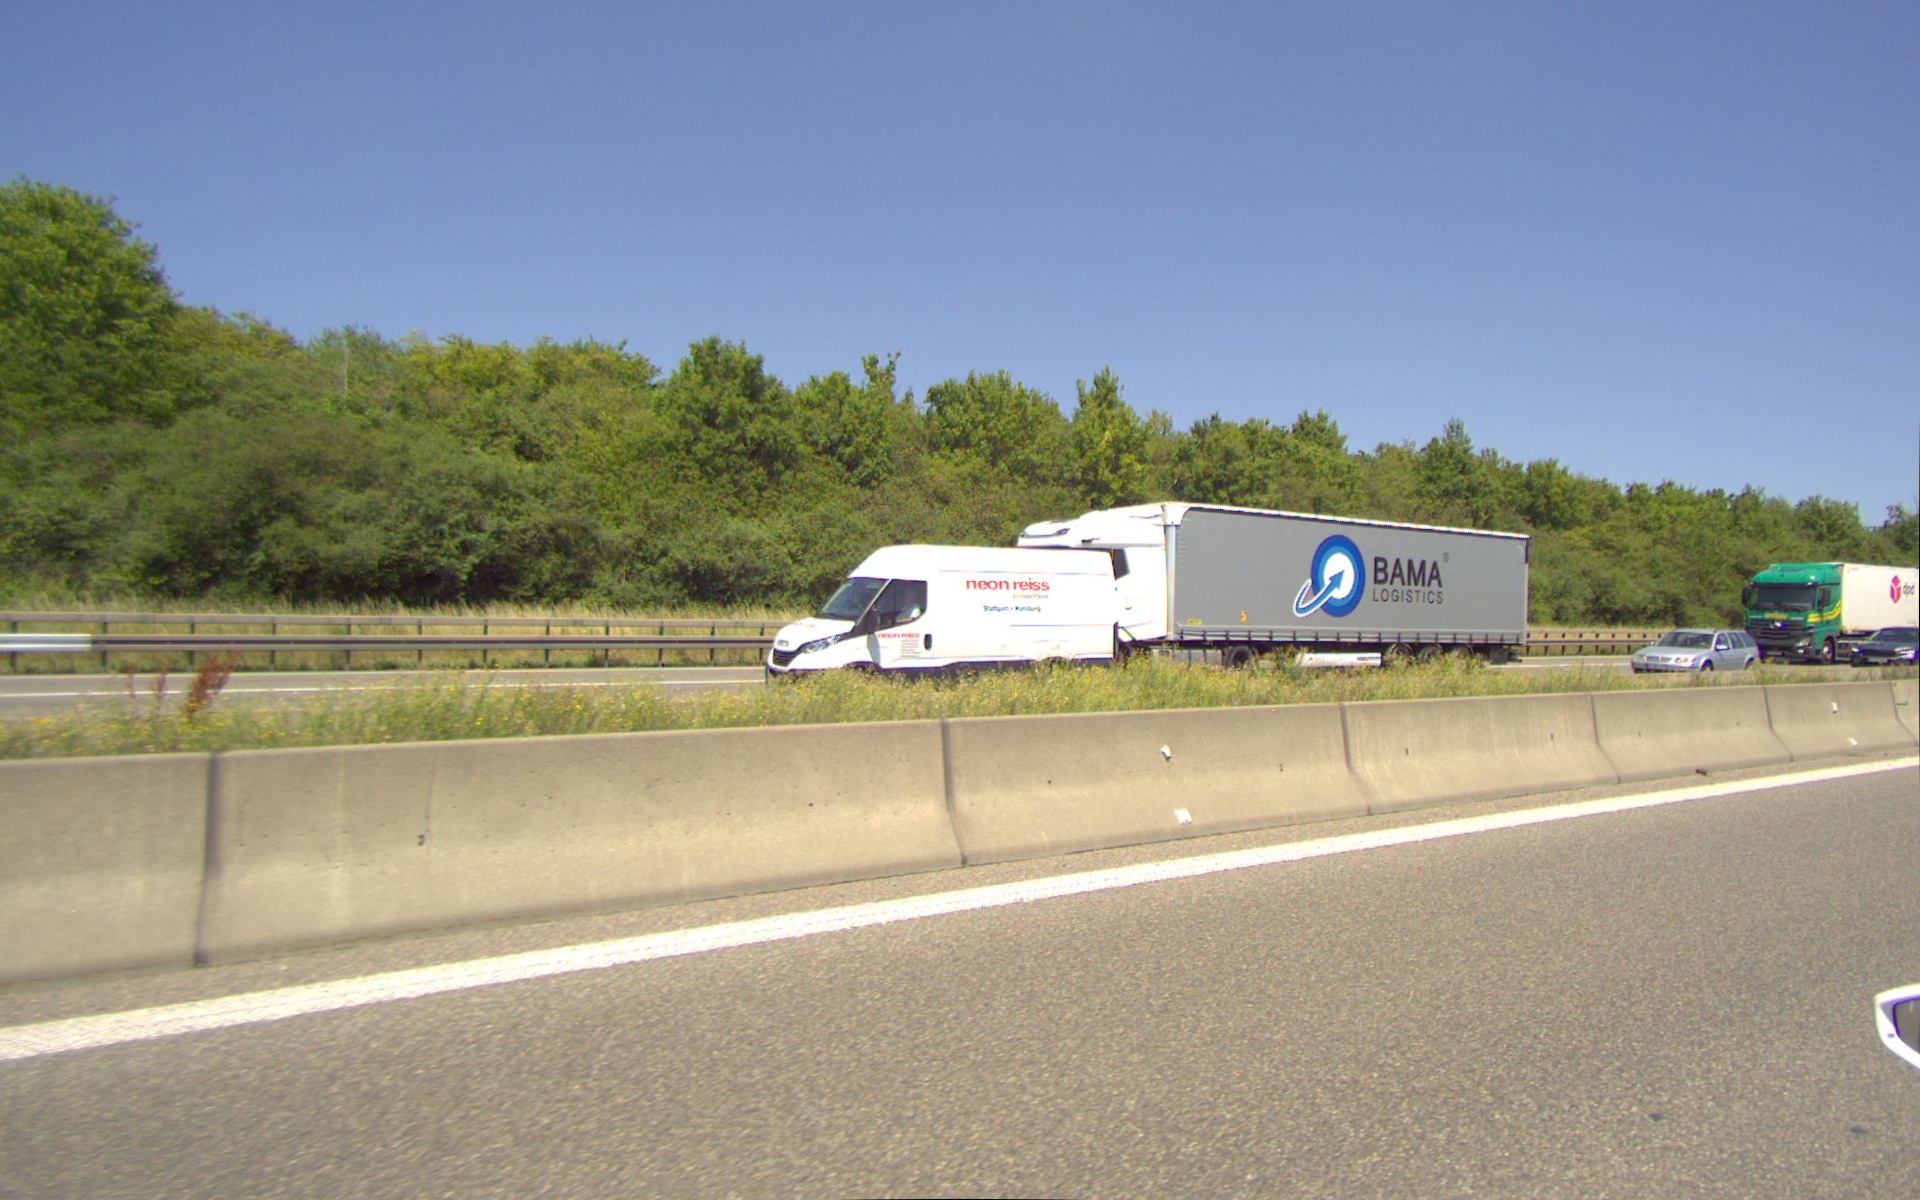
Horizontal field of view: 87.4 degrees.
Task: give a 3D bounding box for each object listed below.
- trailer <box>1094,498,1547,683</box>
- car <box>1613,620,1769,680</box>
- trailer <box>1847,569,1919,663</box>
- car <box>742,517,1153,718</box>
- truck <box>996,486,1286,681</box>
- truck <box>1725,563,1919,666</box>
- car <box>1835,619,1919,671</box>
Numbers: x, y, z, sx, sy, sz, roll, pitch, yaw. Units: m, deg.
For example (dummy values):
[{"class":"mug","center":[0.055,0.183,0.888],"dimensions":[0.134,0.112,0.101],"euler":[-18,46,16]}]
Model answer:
[{"class":"trailer","center":[10.288,-0.053,27.269],"dimensions":[14.268,4.140,2.890],"euler":[1,-1,-29]},{"class":"car","center":[20.564,1.413,28.202],"dimensions":[4.802,1.479,1.743],"euler":[3,-1,-30]},{"class":"trailer","center":[44.959,0.778,46.712],"dimensions":[8.125,4.126,2.909],"euler":[1,-1,-28]},{"class":"car","center":[-0.058,0.383,16.666],"dimensions":[6.549,2.822,2.129],"euler":[3,-1,-31]},{"class":"truck","center":[4.373,-0.264,23.948],"dimensions":[6.525,4.090,2.840],"euler":[1,-1,-30]},{"class":"truck","center":[36.615,0.659,42.226],"dimensions":[11.108,3.950,2.831],"euler":[1,-1,-29]},{"class":"car","center":[33.140,1.628,35.432],"dimensions":[5.053,1.663,1.853],"euler":[3,-1,-30]}]
